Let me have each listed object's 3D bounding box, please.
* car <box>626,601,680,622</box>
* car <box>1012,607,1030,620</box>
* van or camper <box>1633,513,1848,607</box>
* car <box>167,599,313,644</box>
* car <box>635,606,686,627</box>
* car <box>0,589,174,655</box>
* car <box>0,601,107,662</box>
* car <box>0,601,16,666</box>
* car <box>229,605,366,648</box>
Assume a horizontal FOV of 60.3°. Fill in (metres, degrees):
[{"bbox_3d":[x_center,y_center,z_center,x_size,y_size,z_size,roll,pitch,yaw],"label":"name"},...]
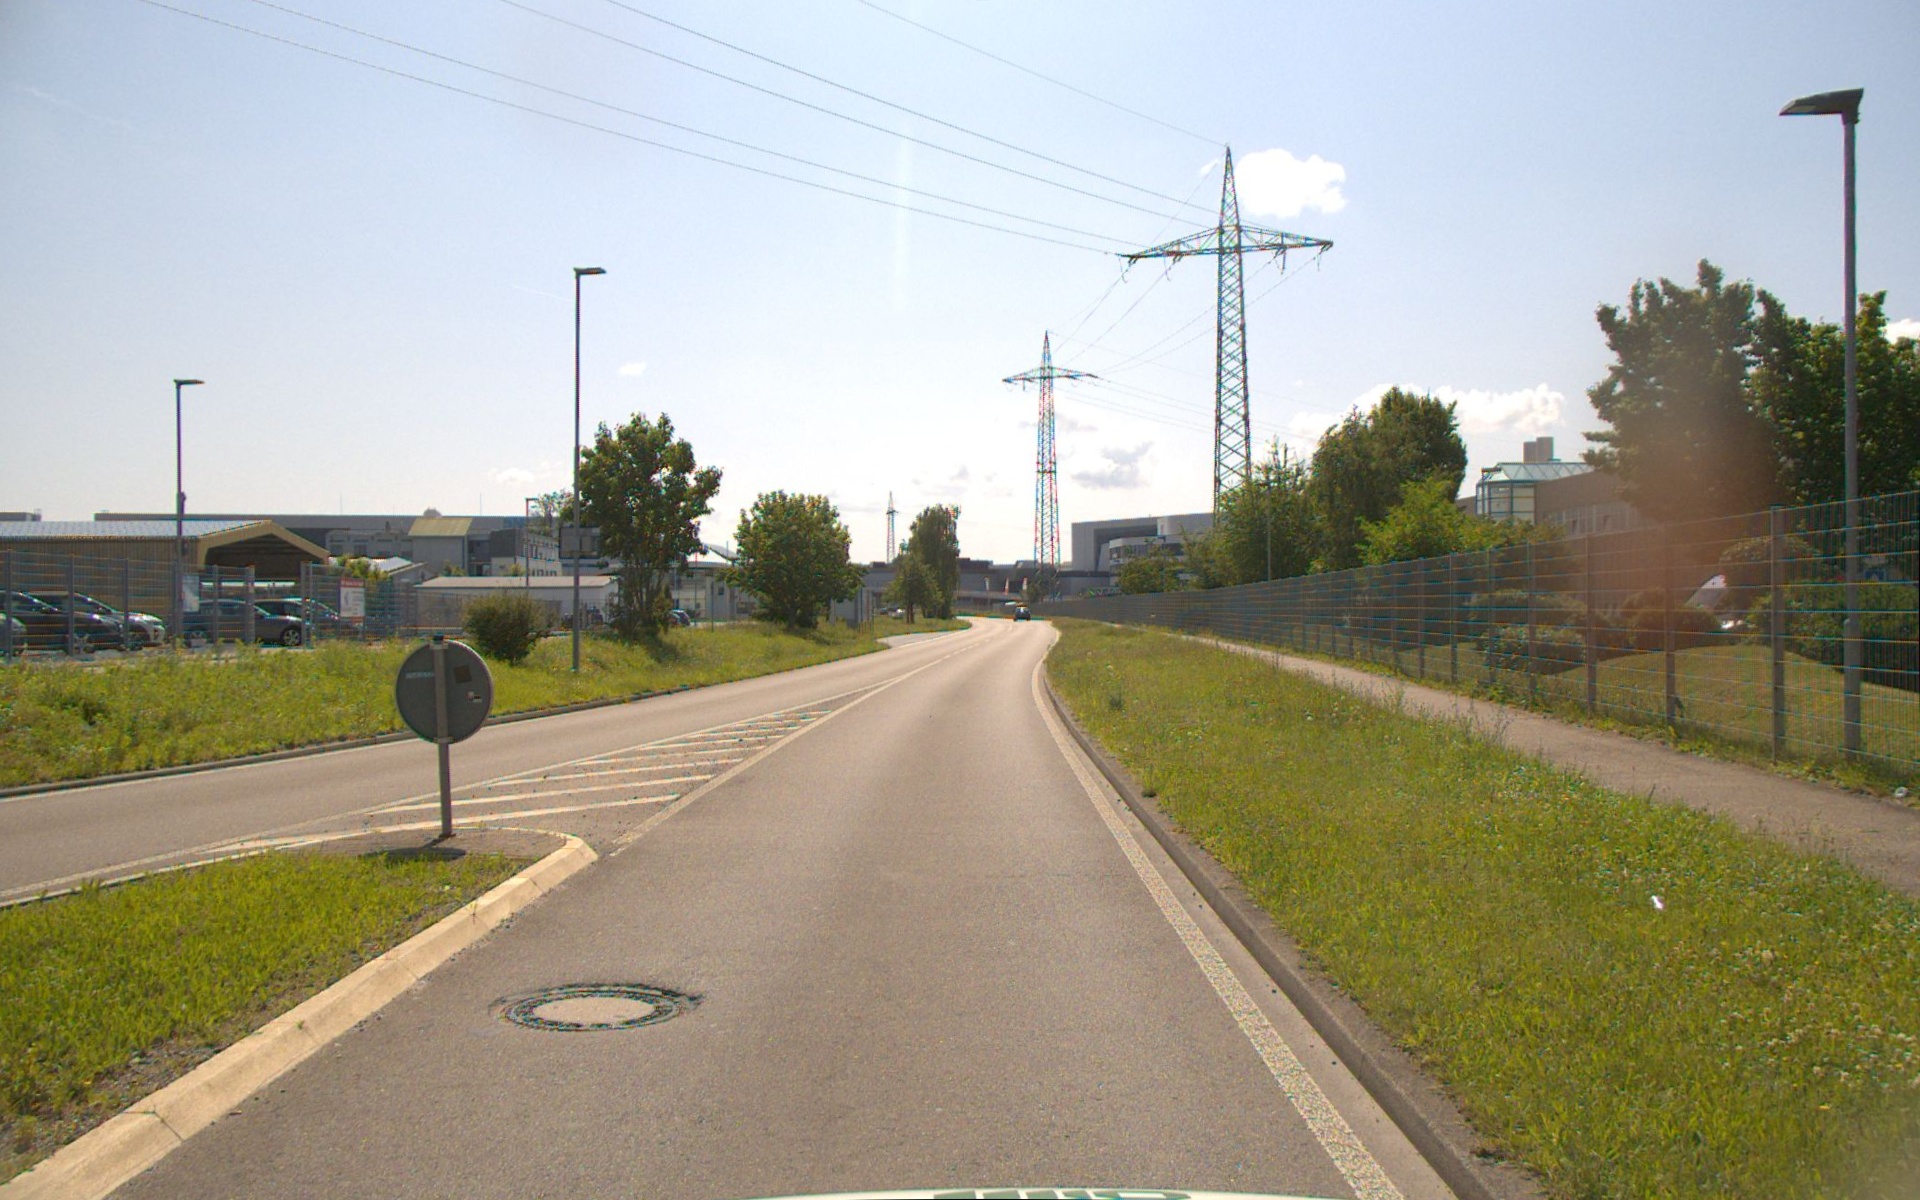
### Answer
[{"bbox_3d":[-24.021,0.916,129.516,3.907,1.582,1.665,0,0,-3],"label":"car"},{"bbox_3d":[7.040,1.580,191.137,1.971,1.534,4.000,0,0,0],"label":"car"},{"bbox_3d":[23.944,-1.200,50.876,5.657,2.562,1.999,2,0,-3],"label":"van or camper"},{"bbox_3d":[-22.093,0.633,50.749,3.945,1.333,1.923,0,0,-30],"label":"car"},{"bbox_3d":[-24.547,1.331,135.595,3.907,1.669,1.999,0,0,-3],"label":"car"},{"bbox_3d":[-21.653,0.520,40.864,3.945,1.567,1.923,0,0,-30],"label":"car"},{"bbox_3d":[-21.401,0.696,37.210,3.942,1.333,1.925,0,0,-28],"label":"car"},{"bbox_3d":[-21.529,0.686,33.697,3.945,1.333,1.923,0,0,-30],"label":"car"},{"bbox_3d":[-21.553,0.836,53.815,3.945,1.333,1.923,0,0,-30],"label":"car"}]
